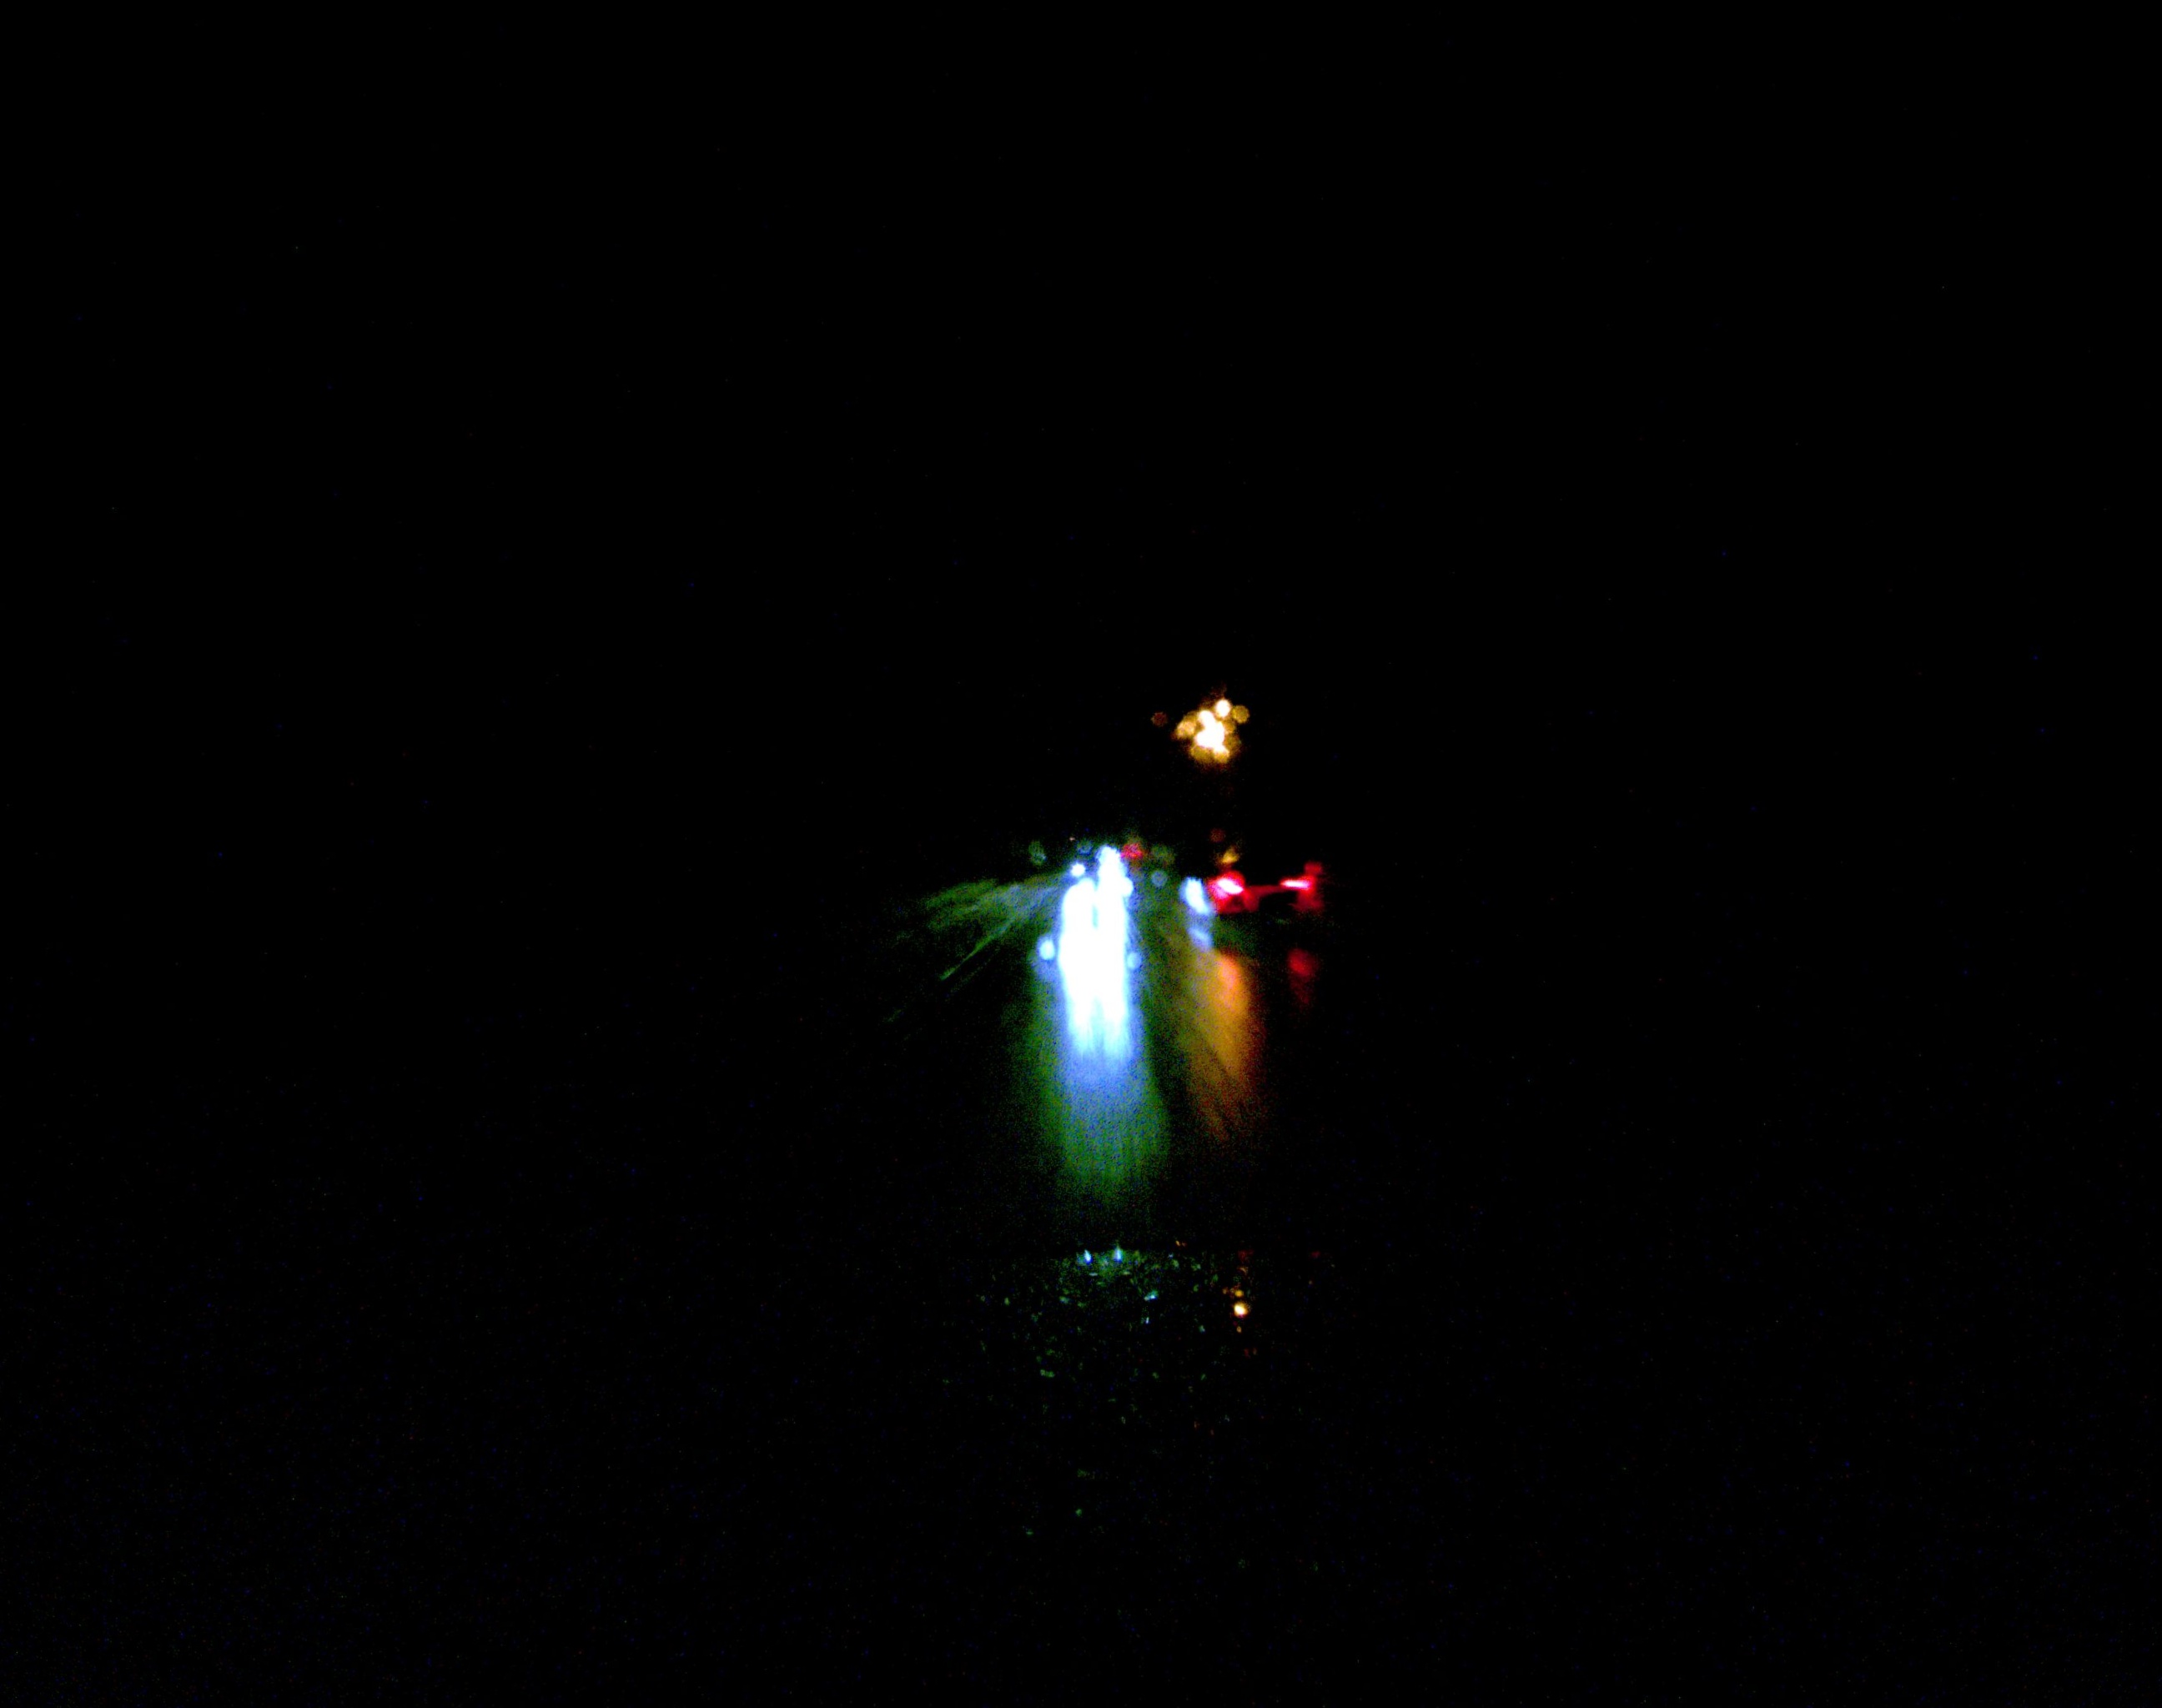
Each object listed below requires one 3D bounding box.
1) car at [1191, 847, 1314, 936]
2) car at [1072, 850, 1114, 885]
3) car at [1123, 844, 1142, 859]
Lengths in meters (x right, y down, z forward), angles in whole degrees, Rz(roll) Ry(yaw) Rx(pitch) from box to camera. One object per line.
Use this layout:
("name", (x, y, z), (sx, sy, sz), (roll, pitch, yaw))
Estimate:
("car", (3.418, 0.668, 15.929), (1.919, 1.467, 4.204), (-3, 1, 5))
("car", (0.605, 0.737, 39.380), (1.944, 1.580, 4.776), (-4, -2, 0))
("car", (5.514, -0.263, 81.764), (1.805, 1.484, 3.867), (-2, 2, 2))
